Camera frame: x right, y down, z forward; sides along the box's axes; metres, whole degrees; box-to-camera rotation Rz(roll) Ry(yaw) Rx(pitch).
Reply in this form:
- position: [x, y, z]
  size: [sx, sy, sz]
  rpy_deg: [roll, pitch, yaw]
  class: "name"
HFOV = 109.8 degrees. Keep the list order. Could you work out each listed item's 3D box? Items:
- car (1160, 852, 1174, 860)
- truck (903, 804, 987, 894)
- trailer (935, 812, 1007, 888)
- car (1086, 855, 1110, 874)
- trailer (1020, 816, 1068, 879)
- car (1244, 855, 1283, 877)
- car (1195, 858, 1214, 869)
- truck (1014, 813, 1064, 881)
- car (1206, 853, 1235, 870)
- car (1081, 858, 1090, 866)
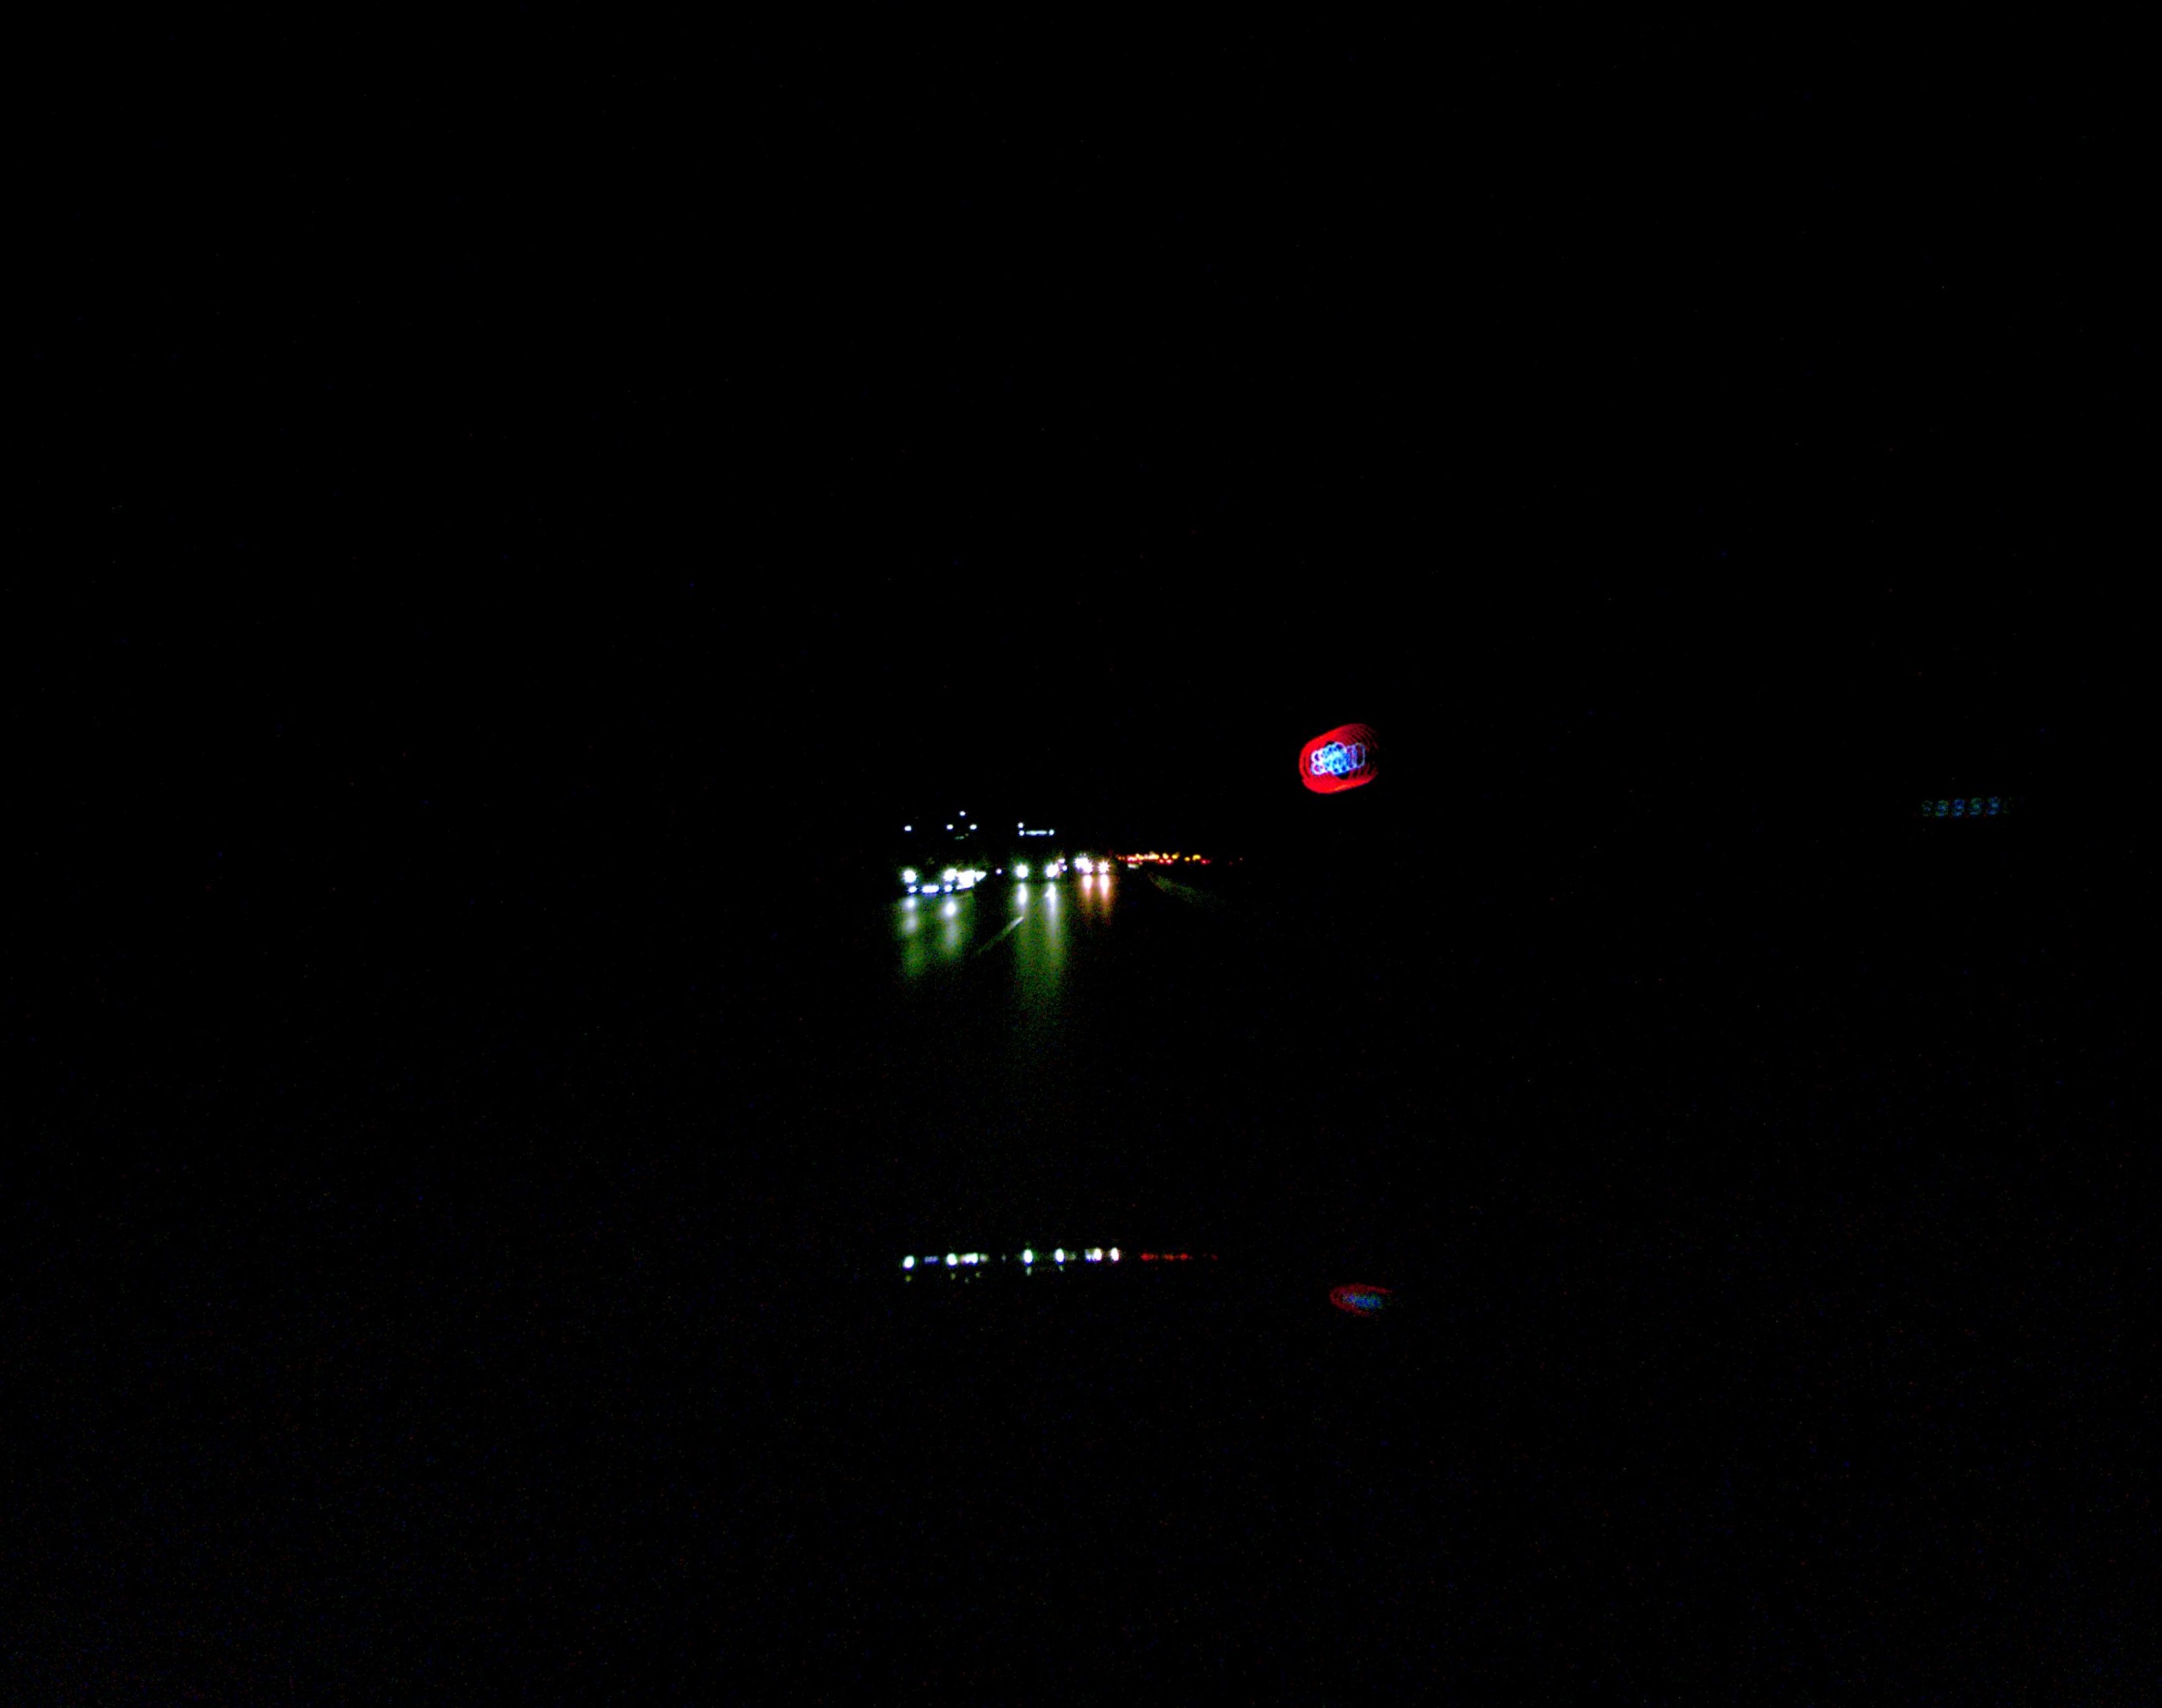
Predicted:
- position: [14.903, 0.342, 131.957]
  size: [1.755, 1.470, 4.582]
  rpy_deg: [1, 0, 0]
  class: "car"
- position: [-6.781, -0.222, 39.045]
  size: [2.597, 4.048, 7.674]
  rpy_deg: [-2, 0, 1]
  class: "truck"
- position: [-6.550, -0.214, 46.821]
  size: [2.597, 4.048, 10.009]
  rpy_deg: [-2, 0, 1]
  class: "trailer"
- position: [1.397, 0.832, 63.317]
  size: [1.825, 1.457, 4.247]
  rpy_deg: [-2, 0, 0]
  class: "car"
- position: [-2.641, -0.415, 58.880]
  size: [2.749, 4.181, 13.510]
  rpy_deg: [-2, 0, 0]
  class: "trailer"
- position: [12.870, 0.807, 53.856]
  size: [1.754, 1.470, 4.582]
  rpy_deg: [1, 0, 1]
  class: "car"
- position: [16.780, 1.270, 103.477]
  size: [1.755, 1.470, 4.582]
  rpy_deg: [1, 0, 0]
  class: "car"
- position: [-2.745, -0.424, 51.370]
  size: [2.668, 4.182, 6.723]
  rpy_deg: [-2, 0, 1]
  class: "truck"
- position: [12.881, 0.671, 70.342]
  size: [1.755, 1.470, 4.582]
  rpy_deg: [1, 0, 0]
  class: "car"
- position: [1.107, 2.113, 193.459]
  size: [2.266, 1.841, 5.404]
  rpy_deg: [-2, 0, 1]
  class: "car"
